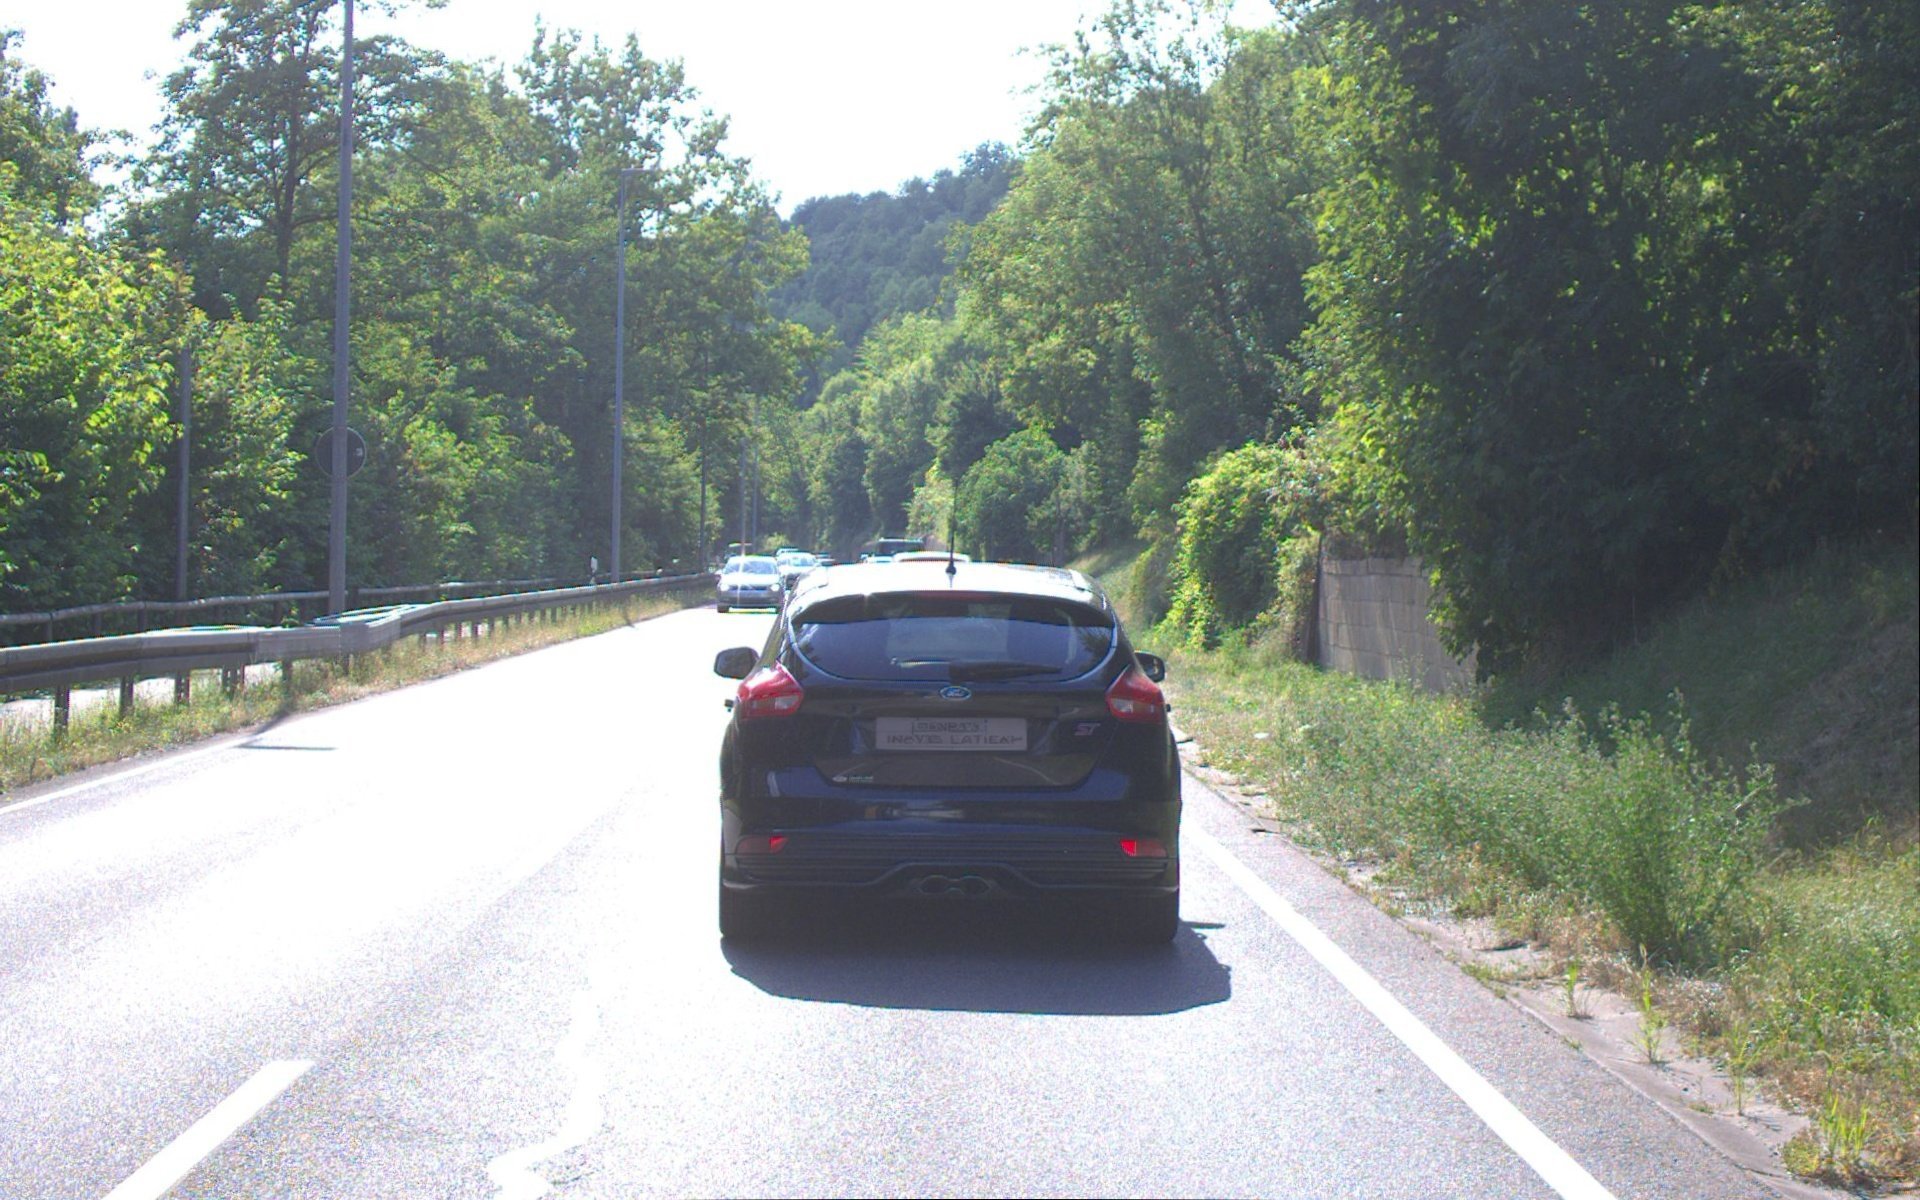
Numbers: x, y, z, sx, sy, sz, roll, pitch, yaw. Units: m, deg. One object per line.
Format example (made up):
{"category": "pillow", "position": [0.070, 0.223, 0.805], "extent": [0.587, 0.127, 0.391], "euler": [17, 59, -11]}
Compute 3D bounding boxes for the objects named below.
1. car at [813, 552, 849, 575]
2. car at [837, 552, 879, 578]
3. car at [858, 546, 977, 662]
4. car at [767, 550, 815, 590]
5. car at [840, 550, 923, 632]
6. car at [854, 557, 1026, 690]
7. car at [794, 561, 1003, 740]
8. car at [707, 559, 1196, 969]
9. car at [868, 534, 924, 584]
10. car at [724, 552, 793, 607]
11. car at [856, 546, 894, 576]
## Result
{"category": "car", "position": [-8.544, -2.426, 228.006], "extent": [1.993, 1.514, 4.001], "euler": [0, 1, -8]}
{"category": "car", "position": [-5.915, -2.042, 199.480], "extent": [1.993, 1.514, 4.001], "euler": [0, 1, -8]}
{"category": "car", "position": [-0.604, 0.028, 49.215], "extent": [1.631, 1.590, 4.000], "euler": [0, 1, -1]}
{"category": "car", "position": [-6.331, -1.152, 128.961], "extent": [1.681, 1.458, 4.198], "euler": [1, 1, -1]}
{"category": "car", "position": [-1.562, -0.207, 69.818], "extent": [1.631, 1.590, 4.000], "euler": [0, 1, -1]}
{"category": "car", "position": [-0.235, 0.223, 38.193], "extent": [1.804, 1.387, 4.000], "euler": [0, 1, -1]}
{"category": "car", "position": [-0.469, 0.385, 29.586], "extent": [1.661, 1.413, 4.000], "euler": [0, 1, 1]}
{"category": "car", "position": [-0.052, 0.571, 14.359], "extent": [1.739, 1.451, 4.000], "euler": [1, 1, -1]}
{"category": "car", "position": [-2.321, -1.480, 123.506], "extent": [1.863, 1.774, 4.001], "euler": [0, 1, -3]}
{"category": "car", "position": [-5.182, -0.540, 88.848], "extent": [1.623, 1.372, 4.048], "euler": [0, 1, -1]}
{"category": "car", "position": [-4.268, -1.976, 172.739], "extent": [1.819, 1.514, 4.000], "euler": [0, 1, -1]}
